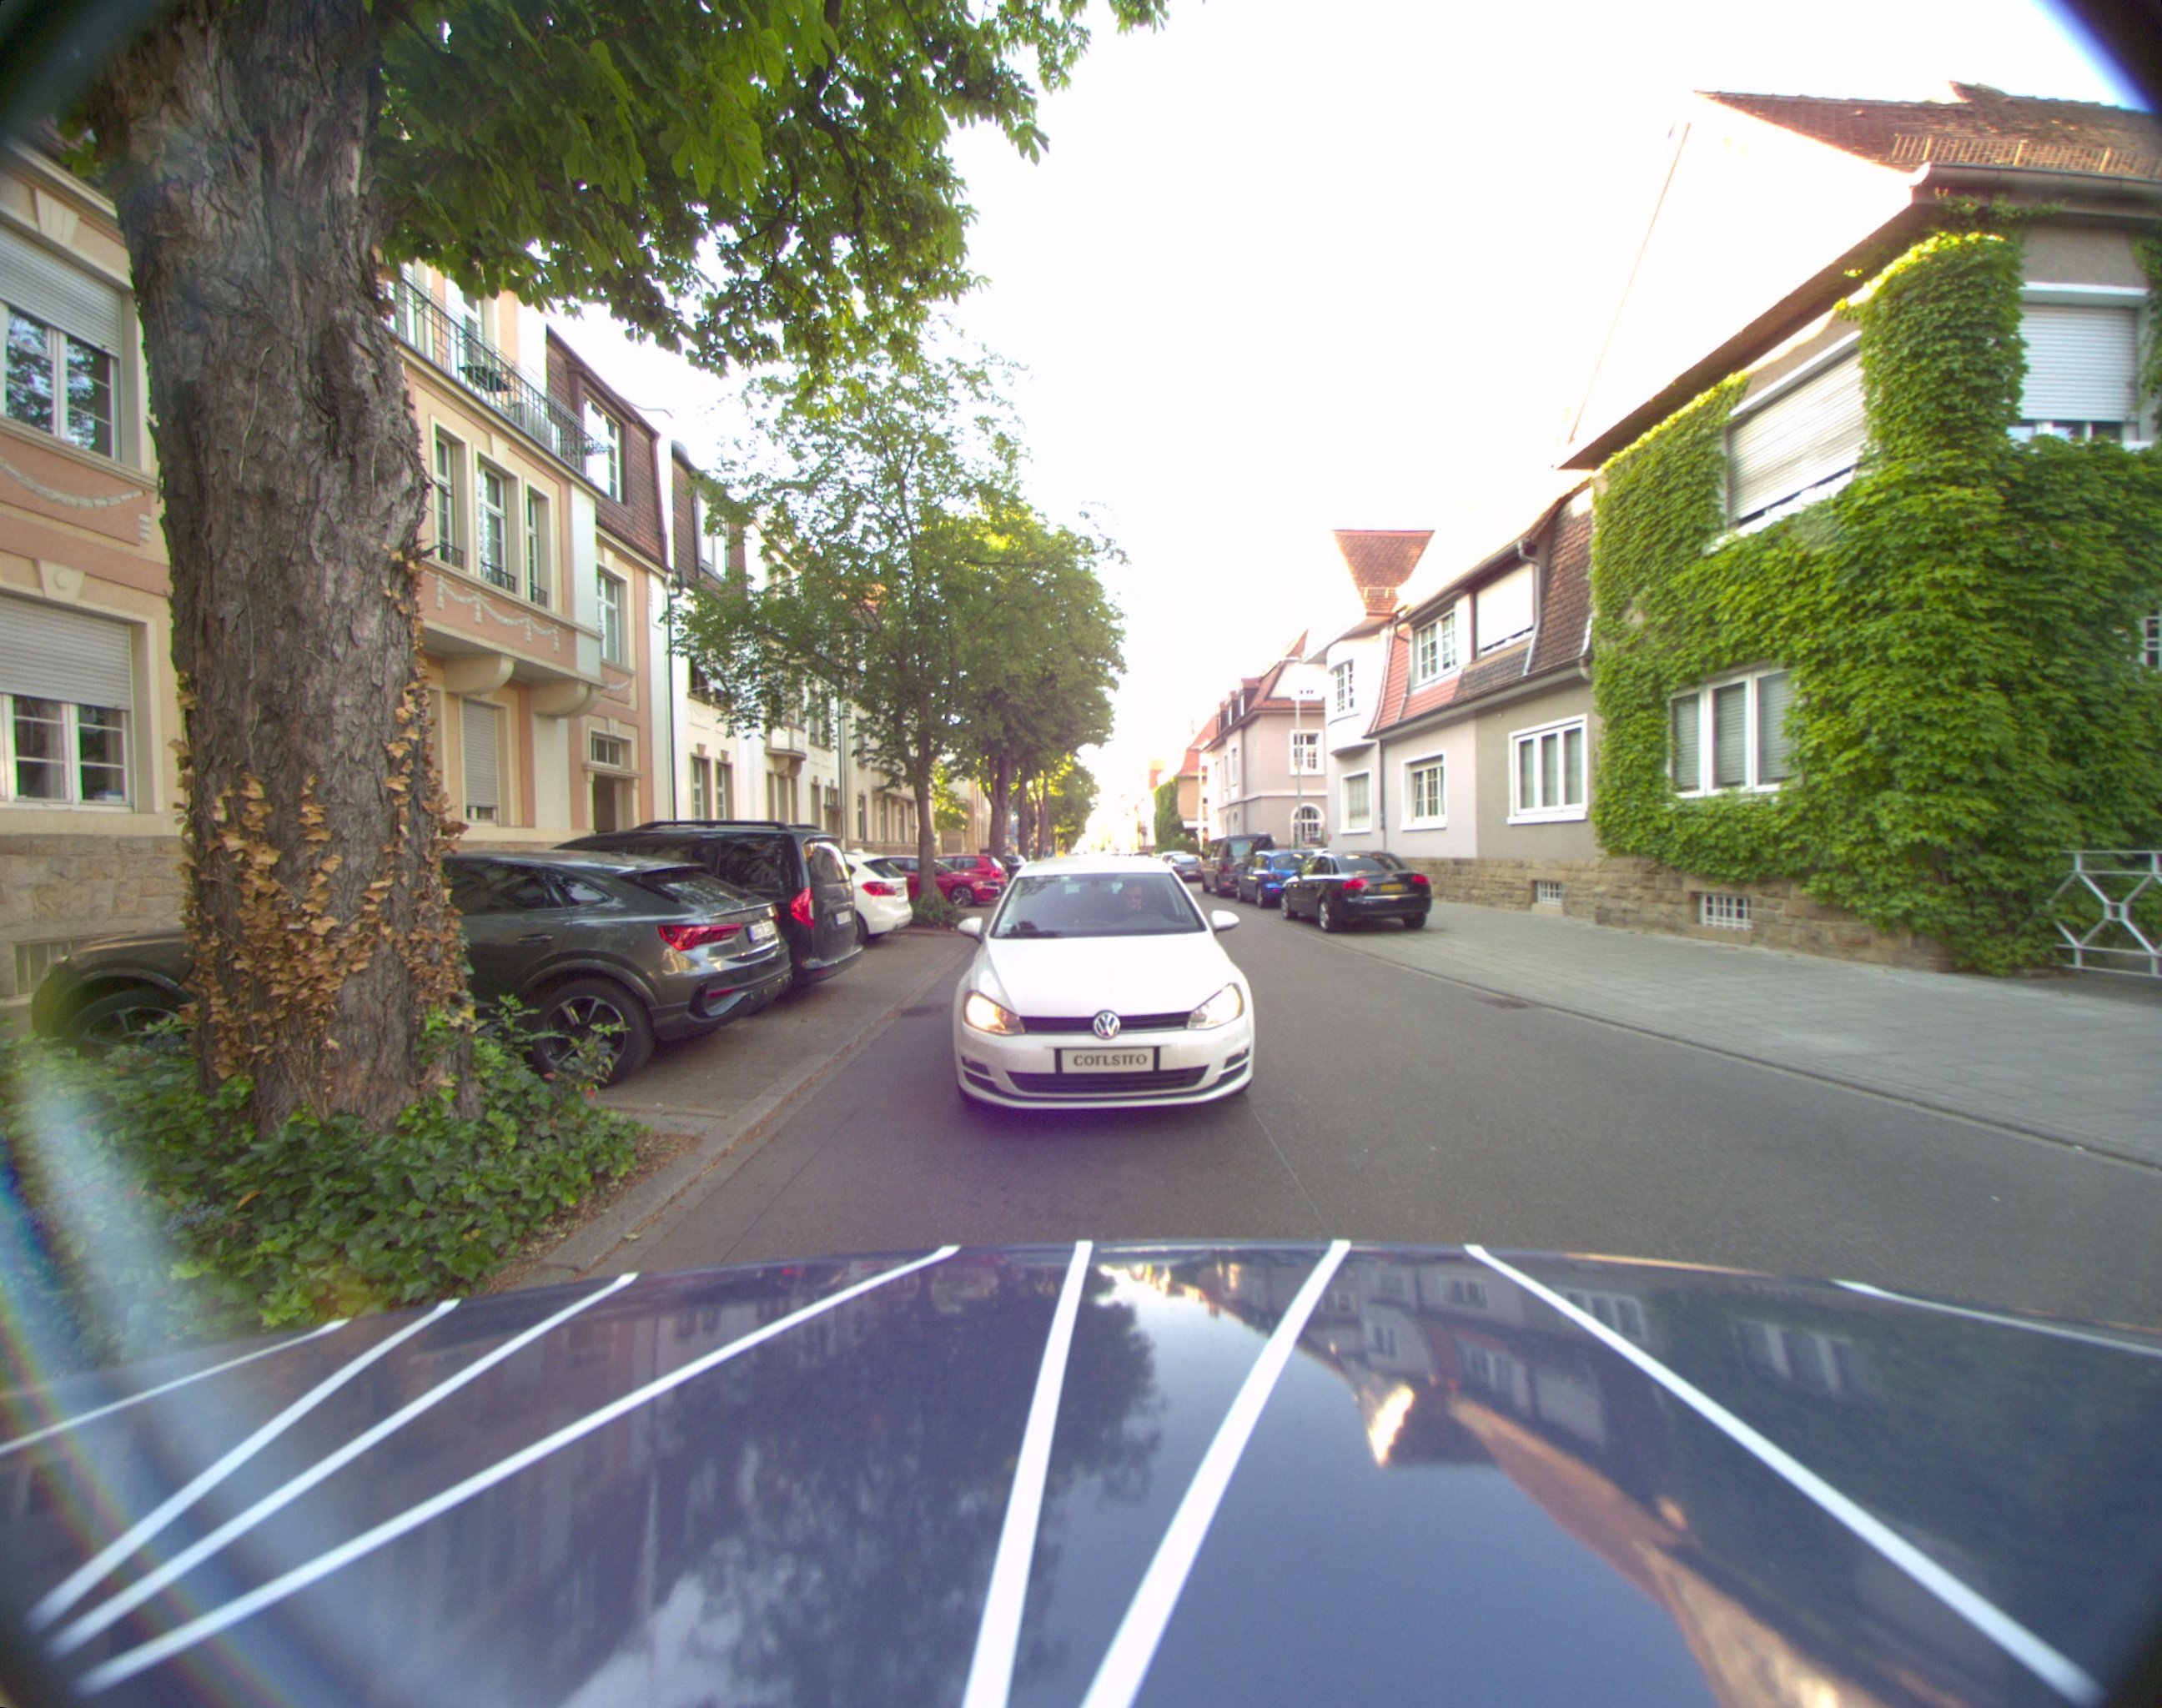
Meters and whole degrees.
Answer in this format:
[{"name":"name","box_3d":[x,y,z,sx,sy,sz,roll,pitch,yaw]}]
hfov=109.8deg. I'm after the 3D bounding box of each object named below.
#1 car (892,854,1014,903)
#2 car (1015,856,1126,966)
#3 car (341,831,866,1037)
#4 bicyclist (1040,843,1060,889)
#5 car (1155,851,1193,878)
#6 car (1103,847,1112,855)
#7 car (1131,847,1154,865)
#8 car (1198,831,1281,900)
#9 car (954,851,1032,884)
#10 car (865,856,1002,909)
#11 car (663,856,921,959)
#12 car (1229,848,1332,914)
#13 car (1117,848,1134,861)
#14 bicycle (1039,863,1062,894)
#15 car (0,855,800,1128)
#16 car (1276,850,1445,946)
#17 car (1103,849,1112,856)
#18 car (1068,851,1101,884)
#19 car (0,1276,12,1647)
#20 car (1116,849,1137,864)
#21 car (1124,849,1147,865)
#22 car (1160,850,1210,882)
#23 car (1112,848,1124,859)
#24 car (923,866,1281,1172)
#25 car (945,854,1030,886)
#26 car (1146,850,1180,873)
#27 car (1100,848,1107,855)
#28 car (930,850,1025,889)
[{"name":"car","box_3d":[-4.048,0.763,24.344,3.622,1.456,1.537,1,1,0]},{"name":"car","box_3d":[-0.130,0.834,13.070,1.600,1.546,4.000,1,0,1]},{"name":"car","box_3d":[-4.456,0.709,7.614,4.173,1.816,1.594,1,1,-4]},{"name":"bicyclist","box_3d":[-1.201,0.472,29.740,0.648,1.765,0.830,-2,1,1]},{"name":"car","box_3d":[5.089,0.544,42.171,1.541,1.363,3.945,-3,0,0]},{"name":"car","box_3d":[5.215,-0.533,149.212,1.643,1.461,3.689,-3,0,0]},{"name":"car","box_3d":[5.481,0.169,68.264,1.643,1.461,3.945,-3,0,0]},{"name":"car","box_3d":[5.148,0.313,25.299,1.719,1.961,4.310,-4,1,0]},{"name":"car","box_3d":[-4.232,0.640,36.884,3.622,1.555,1.537,0,1,0]},{"name":"car","box_3d":[-4.162,0.798,21.817,3.622,1.395,1.537,1,1,0]},{"name":"car","box_3d":[-4.563,0.826,12.391,3.623,1.541,1.537,1,1,-4]},{"name":"car","box_3d":[5.223,0.637,20.385,1.611,1.455,4.023,-4,1,0]},{"name":"car","box_3d":[5.352,0.000,91.168,1.643,1.461,3.689,-3,0,-1]},{"name":"bicycle","box_3d":[-1.175,0.926,29.616,0.744,1.111,2.013,-2,0,1]},{"name":"car","box_3d":[-4.382,0.836,5.416,4.173,1.583,1.594,1,1,-4]},{"name":"car","box_3d":[5.099,0.712,14.472,1.751,1.421,4.023,-4,1,1]},{"name":"car","box_3d":[5.471,-0.338,158.549,1.643,1.461,3.689,-3,0,0]},{"name":"car","box_3d":[0.213,0.650,38.508,1.560,1.546,3.738,1,0,1]},{"name":"car","box_3d":[-4.666,0.791,0.519,4.835,1.814,1.880,1,1,-4]},{"name":"car","box_3d":[4.814,0.225,80.913,1.643,1.461,3.688,-3,0,-4]},{"name":"car","box_3d":[5.391,0.246,75.497,1.643,1.461,3.688,-3,0,-4]},{"name":"car","box_3d":[4.975,0.556,36.848,1.719,1.363,4.334,-3,0,0]},{"name":"car","box_3d":[5.668,-0.074,115.908,1.643,1.461,3.689,-3,0,0]},{"name":"car","box_3d":[0.073,0.882,5.939,1.799,1.420,4.023,-2,0,-1]},{"name":"car","box_3d":[-4.146,0.721,34.127,3.622,1.395,1.537,0,1,0]},{"name":"car","box_3d":[5.436,0.465,50.644,1.719,1.363,3.945,-3,0,0]},{"name":"car","box_3d":[5.127,-0.494,173.345,1.643,1.461,3.689,-3,0,0]},{"name":"car","box_3d":[-4.177,0.613,30.947,3.622,1.555,1.537,0,1,0]}]
